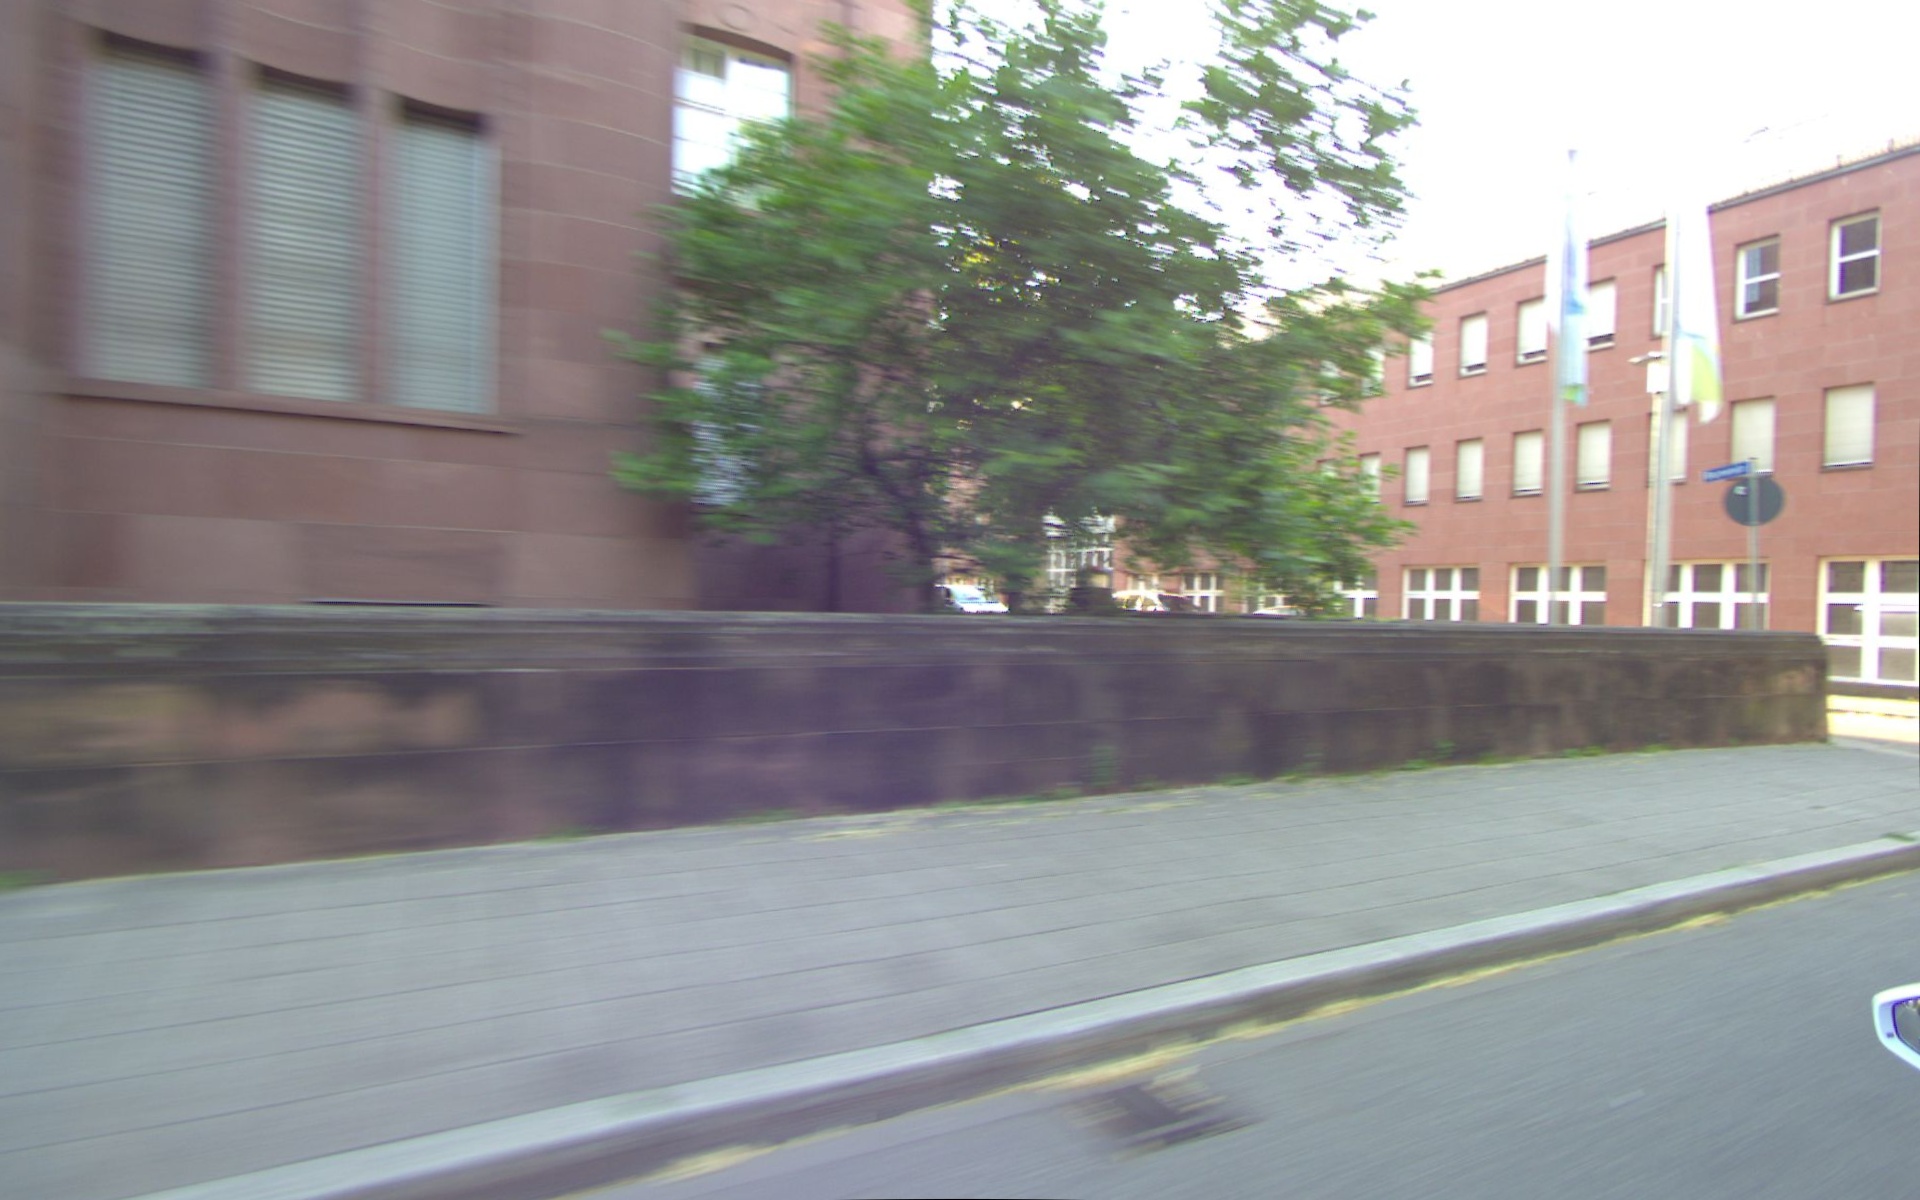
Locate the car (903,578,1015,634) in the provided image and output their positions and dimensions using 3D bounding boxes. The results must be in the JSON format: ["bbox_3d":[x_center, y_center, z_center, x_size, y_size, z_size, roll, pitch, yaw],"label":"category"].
[{"bbox_3d":[-0.125,0.161,36.445,1.975,1.900,5.072,-1,1,-27],"label":"car"}]
